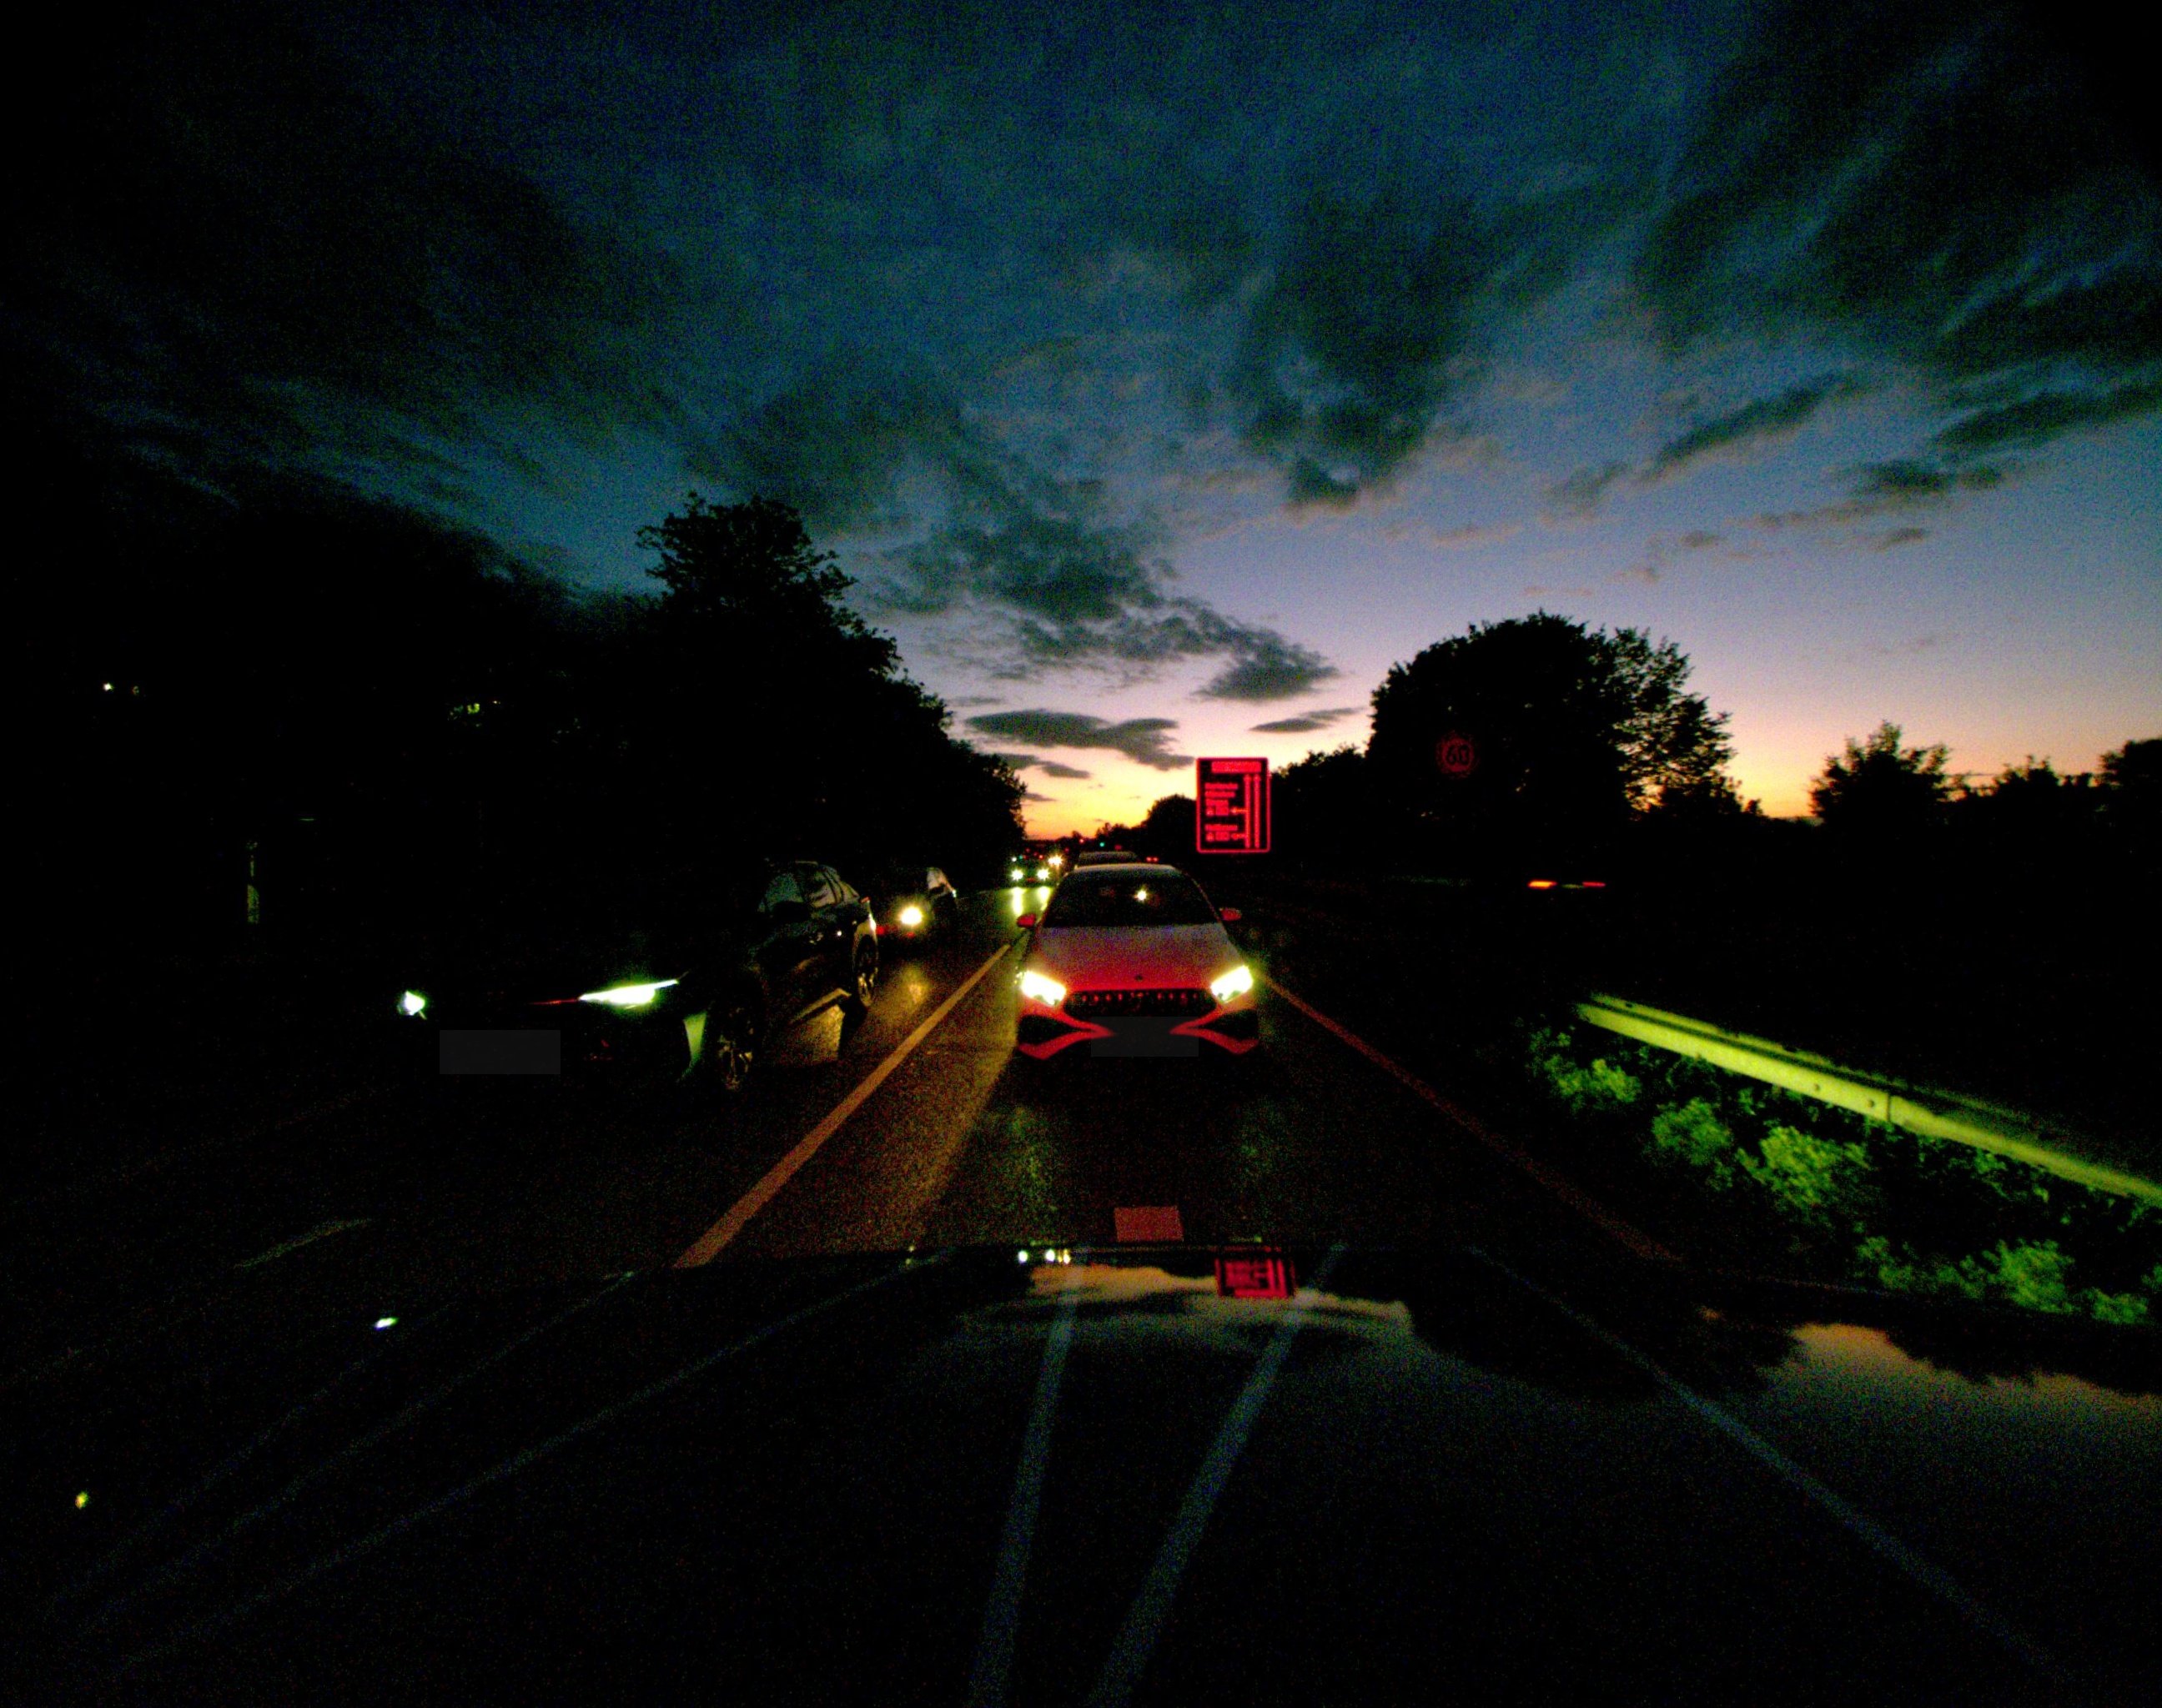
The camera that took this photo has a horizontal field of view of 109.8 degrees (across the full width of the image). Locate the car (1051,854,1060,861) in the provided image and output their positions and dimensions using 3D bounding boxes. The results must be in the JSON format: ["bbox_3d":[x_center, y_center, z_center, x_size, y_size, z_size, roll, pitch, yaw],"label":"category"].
[{"bbox_3d":[-4.964,0.671,146.107,1.606,1.291,3.552,-2,1,-1],"label":"car"}]

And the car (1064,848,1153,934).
[{"bbox_3d":[0.623,0.775,17.687,1.760,1.692,4.250,-2,0,2],"label":"car"}]

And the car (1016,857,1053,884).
[{"bbox_3d":[-2.618,0.932,43.743,1.819,1.360,3.999,-2,1,1],"label":"car"}]

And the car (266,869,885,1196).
[{"bbox_3d":[-3.165,0.965,6.062,1.901,1.547,4.301,-3,0,2],"label":"car"}]

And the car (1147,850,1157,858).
[{"bbox_3d":[14.304,-0.029,153.190,1.781,1.551,3.999,-2,1,1],"label":"car"}]

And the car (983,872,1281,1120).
[{"bbox_3d":[0.392,0.960,7.148,1.819,1.428,4.647,-3,0,2],"label":"car"}]

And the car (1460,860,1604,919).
[{"bbox_3d":[13.201,0.961,22.600,1.632,1.496,4.591,0,0,1],"label":"car"}]

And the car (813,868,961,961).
[{"bbox_3d":[-3.383,0.996,13.970,1.621,1.405,3.756,-1,0,2],"label":"car"}]
